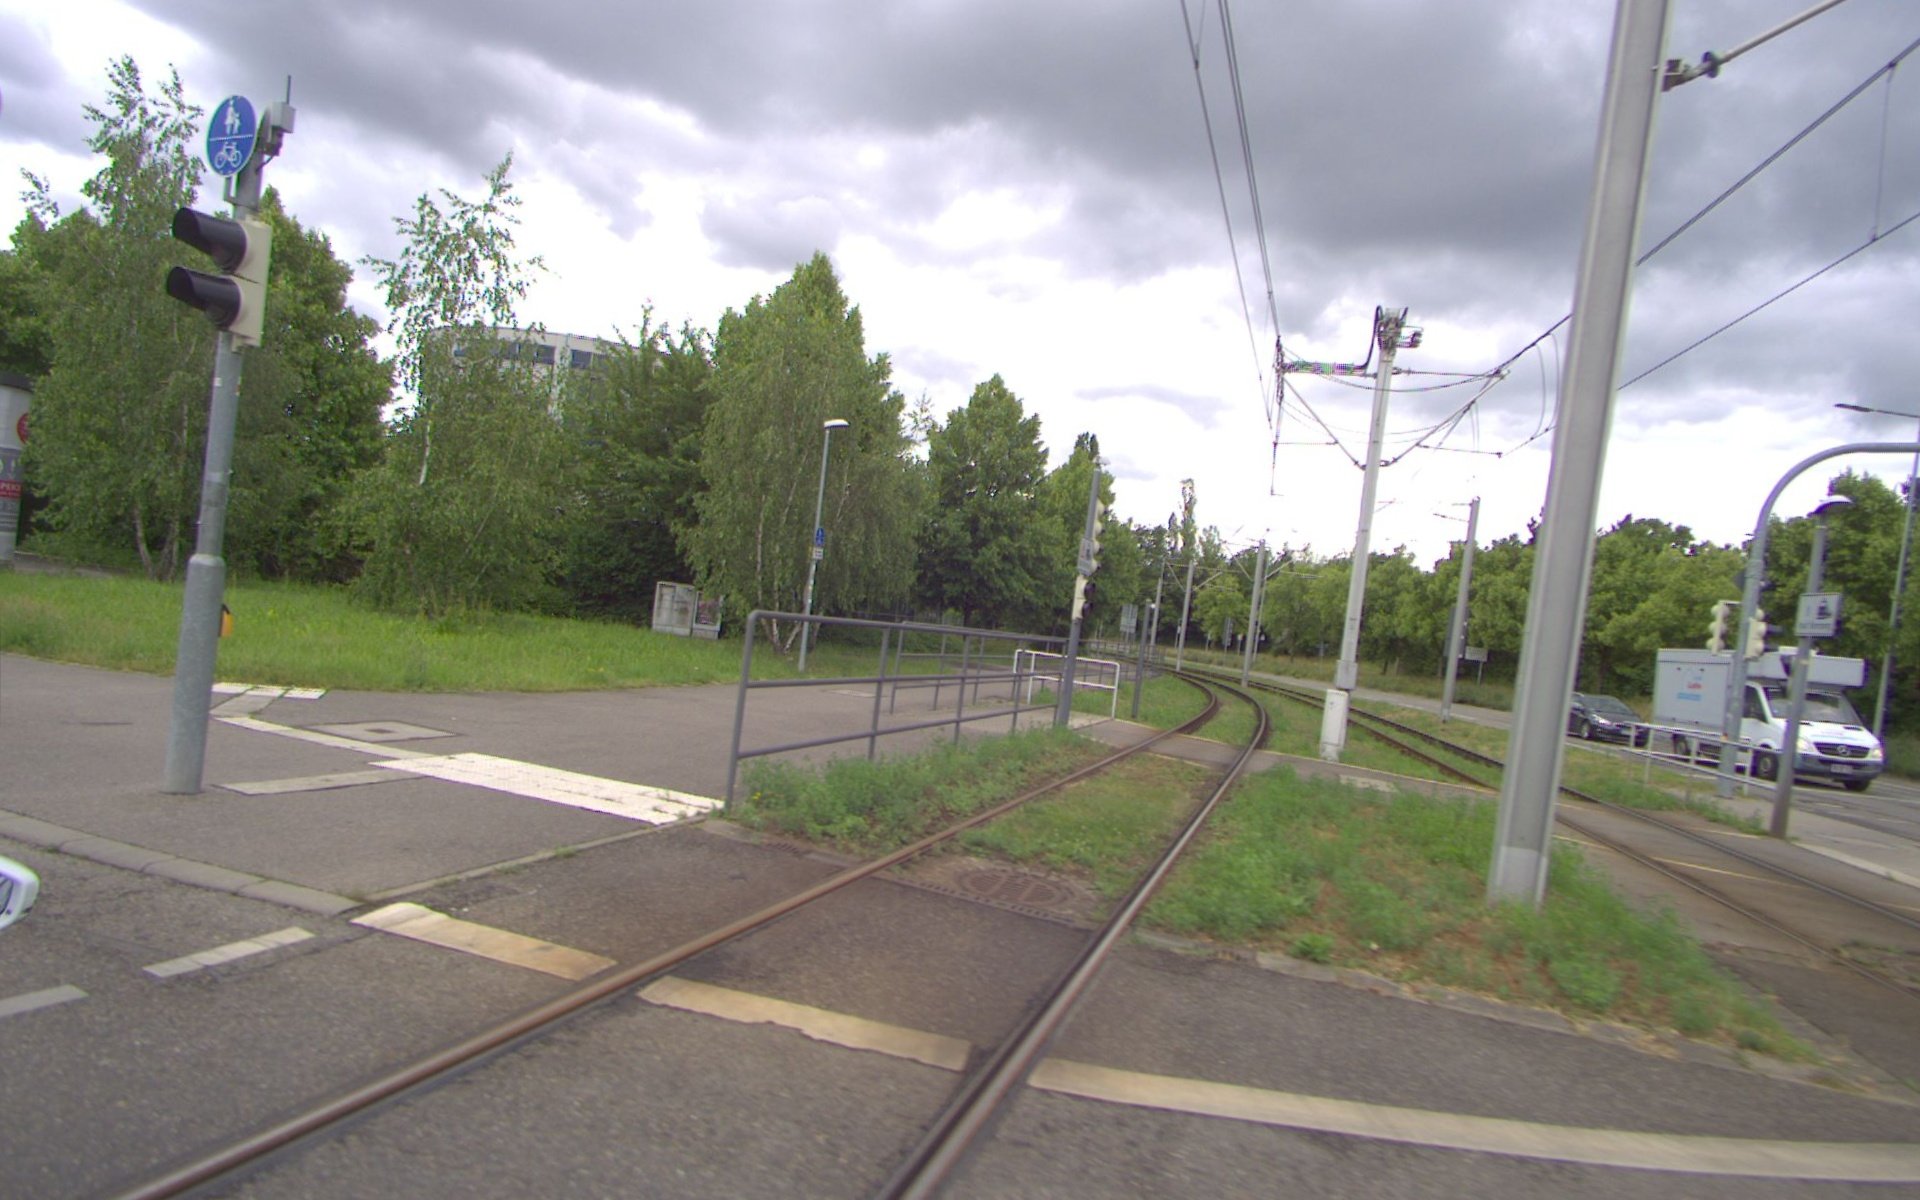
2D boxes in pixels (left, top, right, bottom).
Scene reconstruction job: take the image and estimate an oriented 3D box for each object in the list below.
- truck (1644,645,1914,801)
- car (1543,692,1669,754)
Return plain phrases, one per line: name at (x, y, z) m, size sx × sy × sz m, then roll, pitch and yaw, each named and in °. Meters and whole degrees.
truck at (19.400, 2.720, 24.363) m, size 2.071 × 3.047 × 6.278 m, roll 4°, pitch -1°, yaw 10°
car at (20.894, 3.931, 32.750) m, size 1.962 × 1.415 × 4.003 m, roll 7°, pitch -1°, yaw 11°
